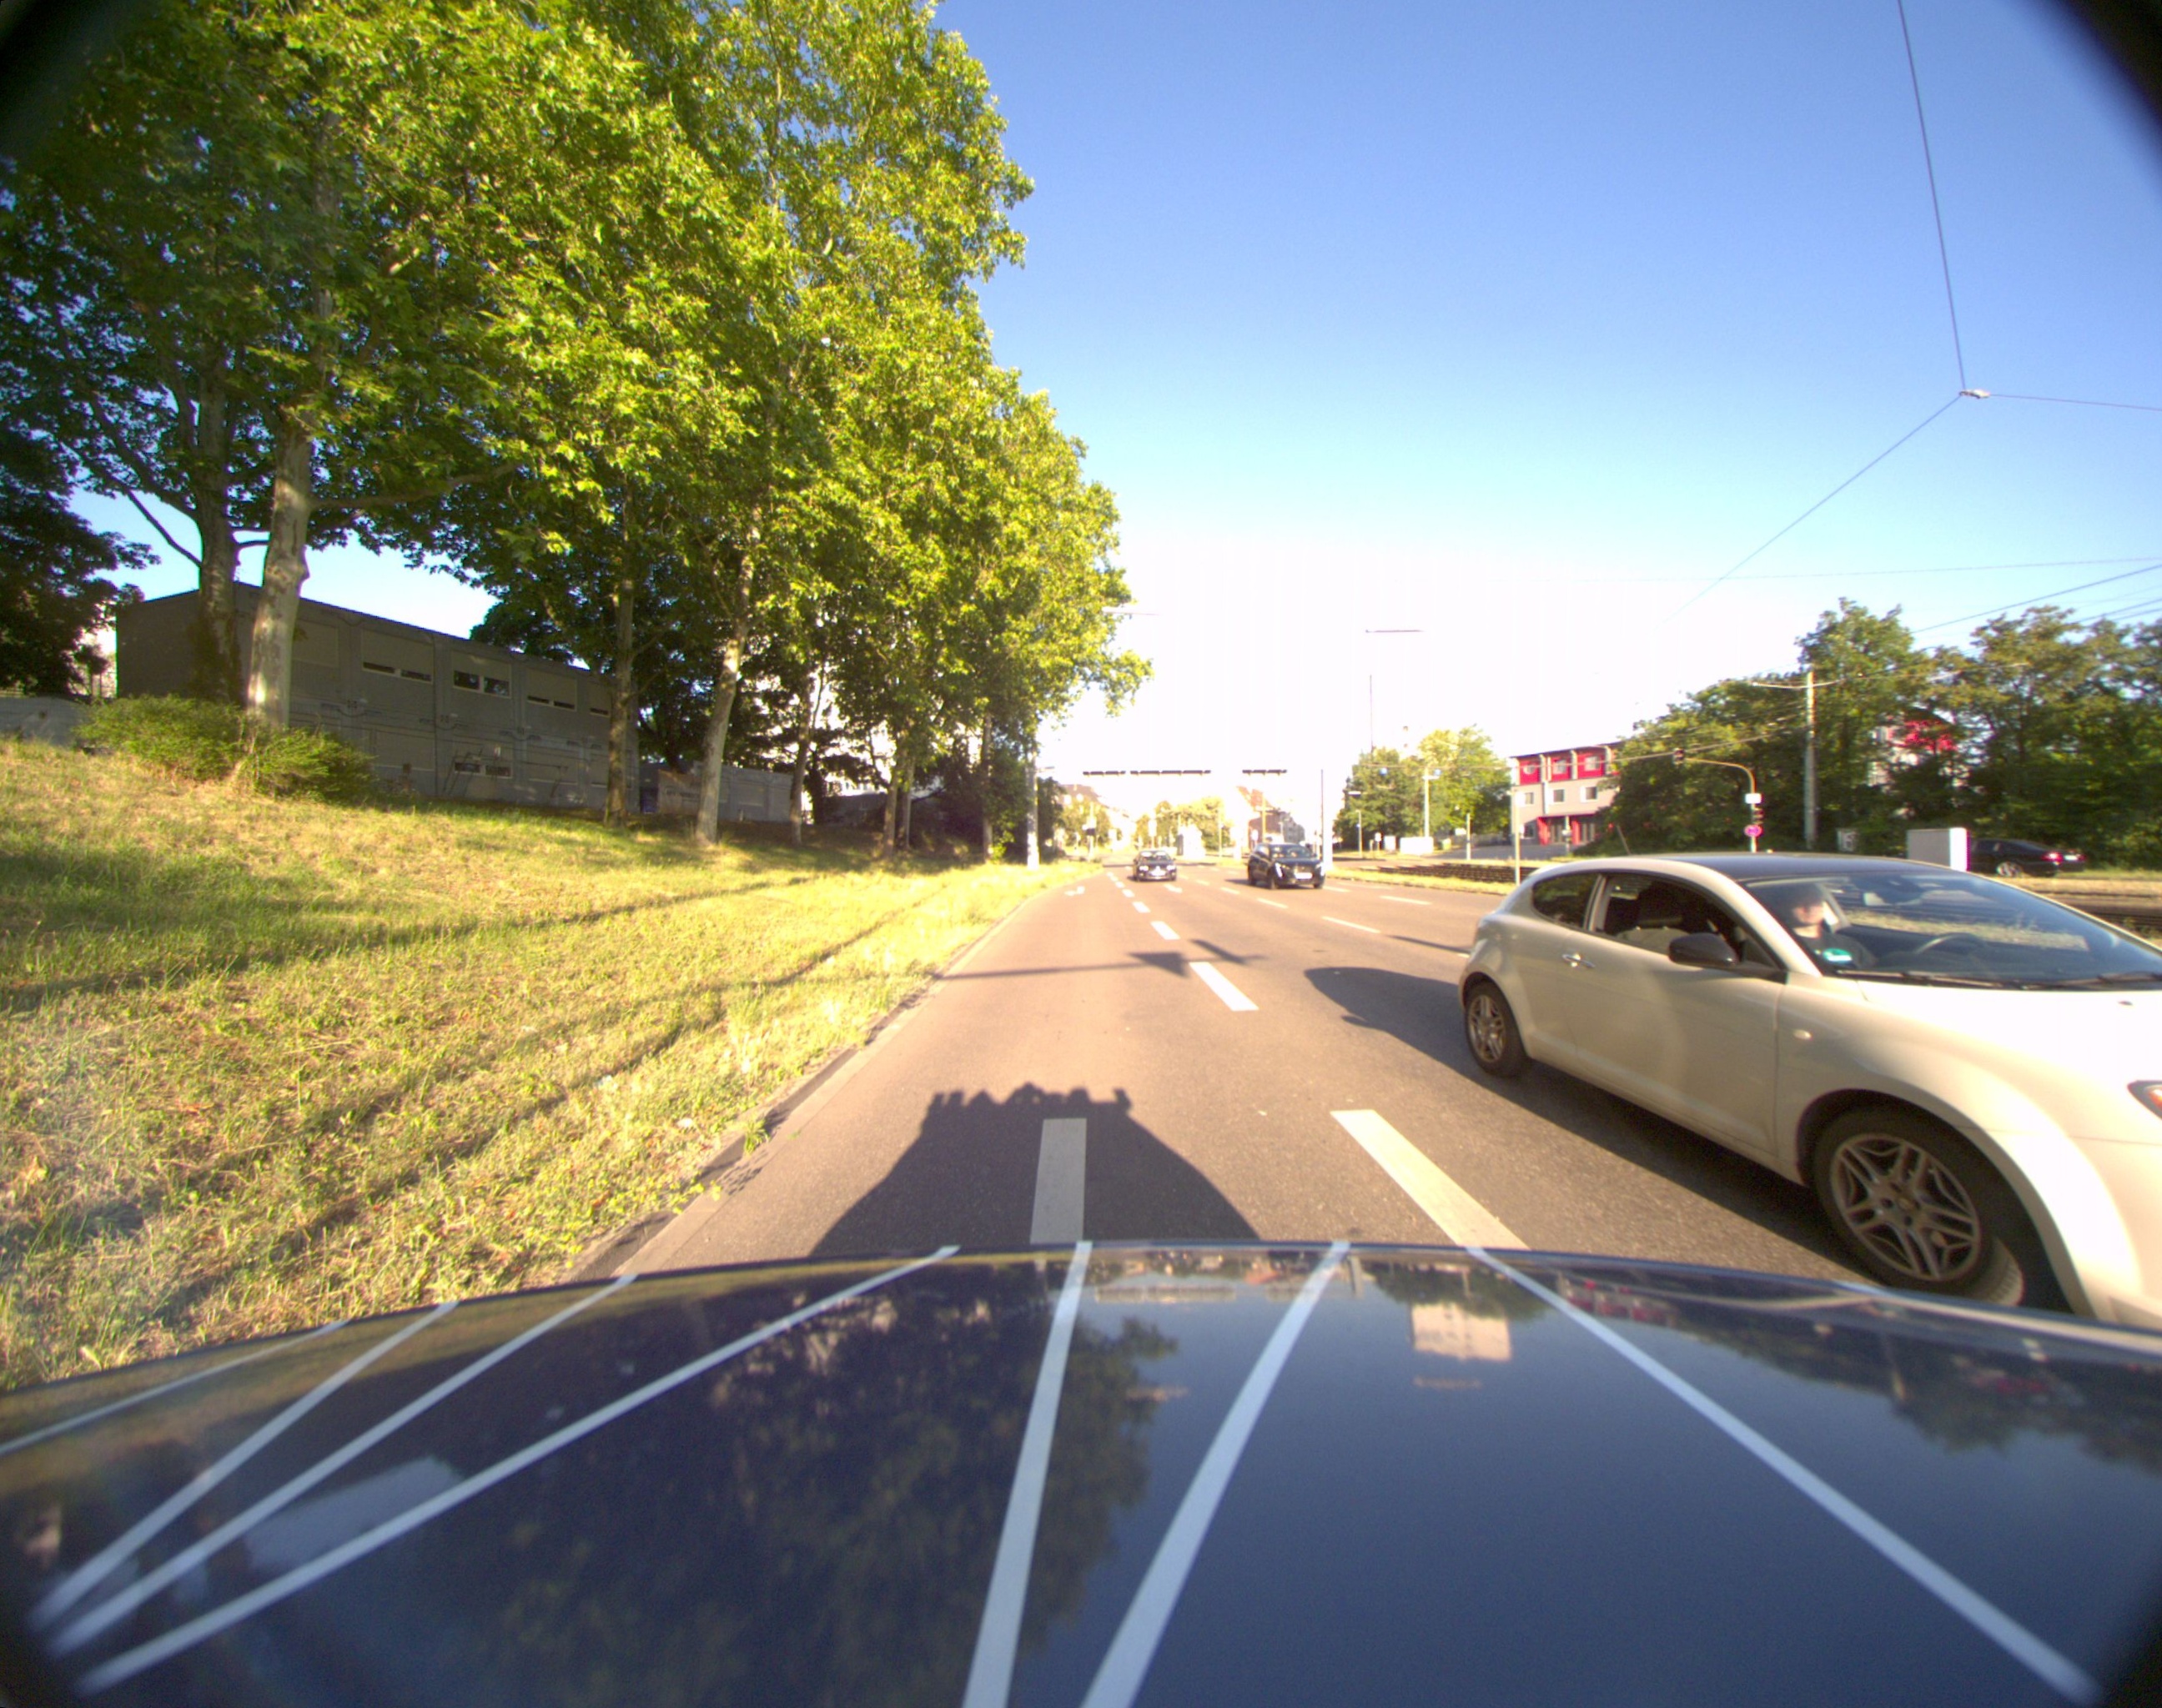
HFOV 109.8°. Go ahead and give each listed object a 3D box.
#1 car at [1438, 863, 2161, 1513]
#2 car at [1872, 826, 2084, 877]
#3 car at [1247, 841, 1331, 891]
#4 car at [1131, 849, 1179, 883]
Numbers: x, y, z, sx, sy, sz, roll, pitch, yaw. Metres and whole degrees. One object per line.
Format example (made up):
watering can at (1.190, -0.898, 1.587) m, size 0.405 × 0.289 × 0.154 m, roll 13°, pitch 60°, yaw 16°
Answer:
car at (3.454, 0.829, 3.459) m, size 1.741 × 1.496 × 3.999 m, roll -1°, pitch 0°, yaw -1°
car at (32.902, -0.075, 28.096) m, size 1.755 × 1.669 × 4.748 m, roll -2°, pitch 0°, yaw -19°
car at (7.431, 0.385, 27.565) m, size 1.905 × 1.652 × 4.276 m, roll -1°, pitch 0°, yaw 1°
car at (3.363, 0.491, 34.997) m, size 1.741 × 1.429 × 3.999 m, roll -2°, pitch 1°, yaw -1°
